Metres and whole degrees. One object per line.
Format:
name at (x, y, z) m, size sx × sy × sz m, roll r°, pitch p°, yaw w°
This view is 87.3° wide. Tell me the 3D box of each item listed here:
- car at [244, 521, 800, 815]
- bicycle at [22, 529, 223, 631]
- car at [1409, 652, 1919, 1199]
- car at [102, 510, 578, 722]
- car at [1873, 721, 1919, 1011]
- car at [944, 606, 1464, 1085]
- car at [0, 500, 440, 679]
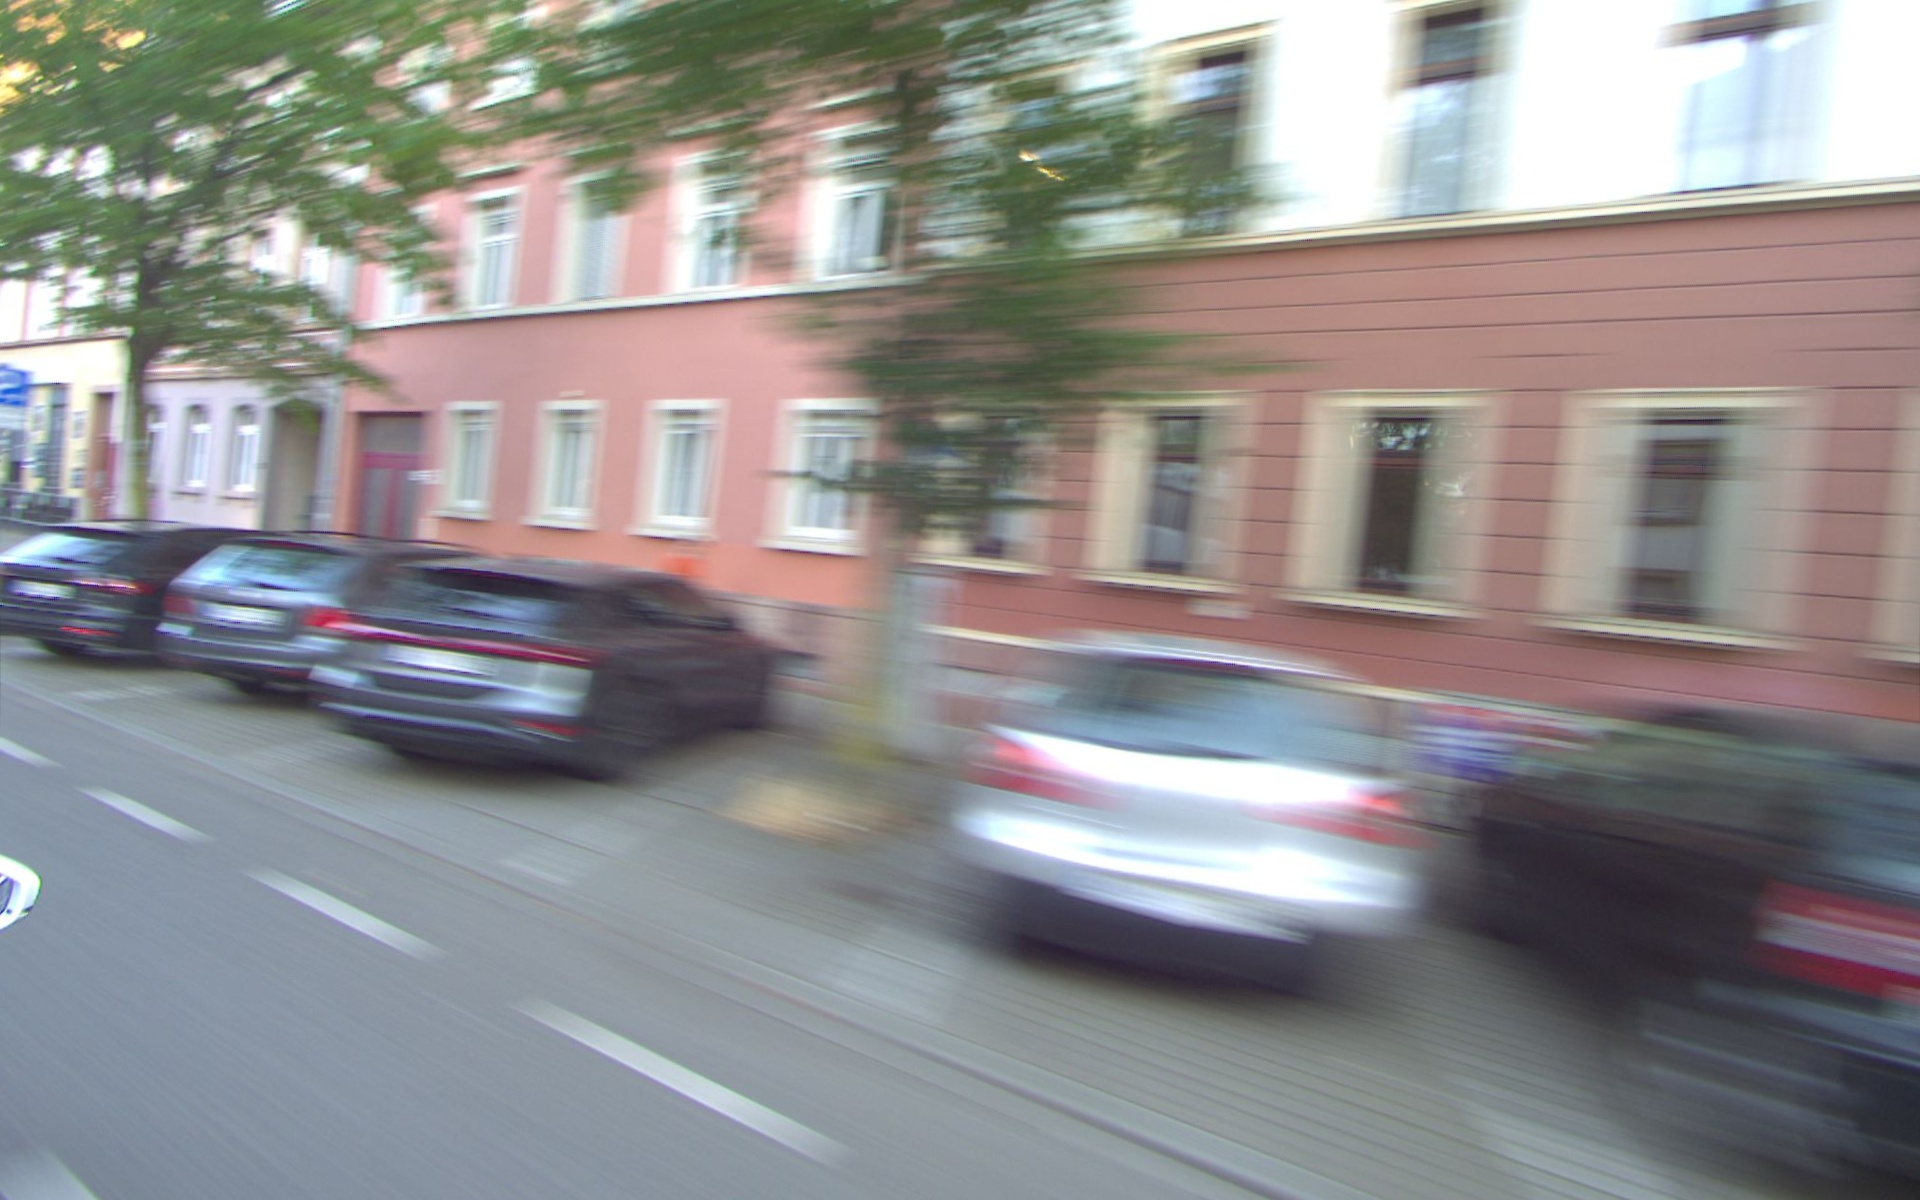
car at (-3.033, 0.411, 8.258) m, size 2.024 × 1.536 × 4.459 m, roll 6°, pitch 1°, yaw 8°
bicycle at (-10.432, -0.228, 12.592) m, size 0.912 × 1.116 × 1.691 m, roll 7°, pitch 2°, yaw 30°
car at (3.394, 1.118, 4.175) m, size 1.637 × 1.447 × 3.566 m, roll 6°, pitch 1°, yaw 6°
car at (-5.638, 0.115, 9.854) m, size 1.796 × 1.511 × 3.999 m, roll 5°, pitch 1°, yaw 7°
car at (5.397, 1.389, 3.545) m, size 1.589 × 1.447 × 3.495 m, roll 5°, pitch 0°, yaw 12°
car at (1.058, 0.893, 5.457) m, size 1.710 × 1.536 × 3.566 m, roll 6°, pitch 1°, yaw 6°
car at (-8.139, -0.139, 11.284) m, size 1.678 × 1.476 × 4.618 m, roll 6°, pitch 1°, yaw 7°
